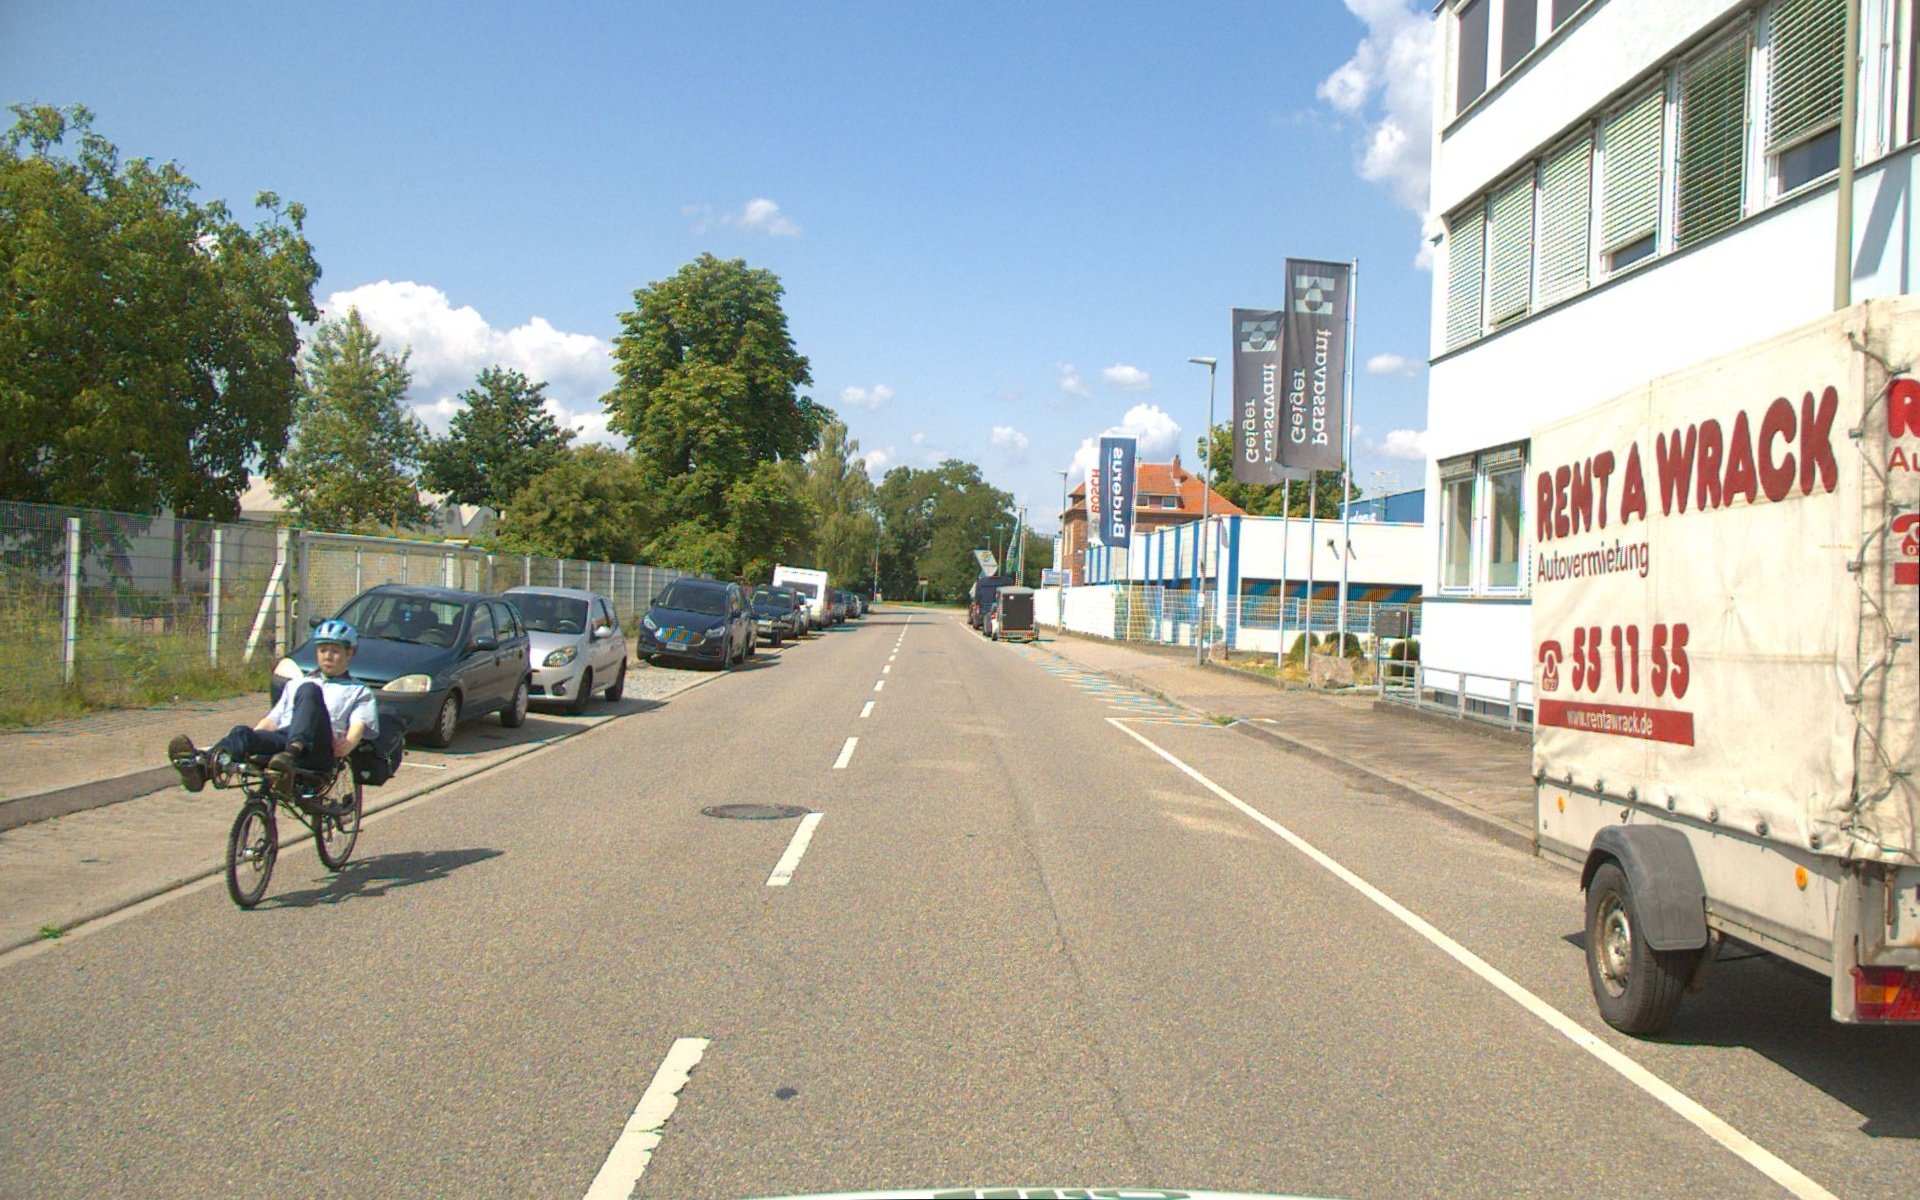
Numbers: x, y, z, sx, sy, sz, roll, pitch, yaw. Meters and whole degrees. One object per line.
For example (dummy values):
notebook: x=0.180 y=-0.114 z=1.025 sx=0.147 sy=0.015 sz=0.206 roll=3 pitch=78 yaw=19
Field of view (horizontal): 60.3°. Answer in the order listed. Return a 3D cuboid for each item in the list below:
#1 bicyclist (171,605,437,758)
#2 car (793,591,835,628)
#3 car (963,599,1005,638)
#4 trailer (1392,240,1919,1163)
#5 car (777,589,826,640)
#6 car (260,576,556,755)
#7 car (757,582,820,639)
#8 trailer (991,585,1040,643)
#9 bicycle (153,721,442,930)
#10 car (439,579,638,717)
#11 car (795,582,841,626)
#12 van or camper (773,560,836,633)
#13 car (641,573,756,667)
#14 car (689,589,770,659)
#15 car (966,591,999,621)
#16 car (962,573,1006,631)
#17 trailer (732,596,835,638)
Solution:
bicyclist: x=-3.298 y=0.374 z=8.504 sx=0.554 sy=0.642 sz=1.858 roll=3 pitch=1 yaw=2
car: x=-6.999 y=0.456 z=79.553 sx=1.592 sy=1.558 sz=4.267 roll=5 pitch=0 yaw=-1
car: x=0.979 y=0.736 z=68.942 sx=1.540 sy=1.534 sz=4.131 roll=2 pitch=0 yaw=-2
trailer: x=3.437 y=0.302 z=7.194 sx=1.830 sy=2.598 sz=5.072 roll=2 pitch=0 yaw=1
car: x=-6.112 y=0.516 z=64.023 sx=1.651 sy=1.721 sz=4.441 roll=6 pitch=0 yaw=-5
car: x=-5.405 y=0.573 z=16.694 sx=1.537 sy=1.423 sz=3.799 roll=7 pitch=0 yaw=0
car: x=-5.919 y=0.337 z=57.621 sx=1.790 sy=1.824 sz=4.734 roll=2 pitch=0 yaw=-2
trailer: x=2.089 y=0.518 z=62.699 sx=1.569 sy=2.073 sz=2.740 roll=3 pitch=0 yaw=-2
bicycle: x=-3.323 y=1.096 z=8.530 sx=0.575 sy=0.754 sz=2.125 roll=2 pitch=0 yaw=1
car: x=-5.317 y=0.558 z=21.311 sx=1.583 sy=1.509 sz=3.709 roll=4 pitch=0 yaw=-1
car: x=-7.319 y=0.203 z=85.843 sx=1.861 sy=1.987 sz=4.956 roll=7 pitch=0 yaw=-2
van or camper: x=-6.814 y=-0.144 z=73.189 sx=2.218 sy=2.851 sz=6.829 roll=6 pitch=0 yaw=-3
car: x=-5.418 y=0.390 z=34.764 sx=1.765 sy=1.780 sz=4.711 roll=2 pitch=0 yaw=-2
car: x=-5.541 y=0.548 z=40.091 sx=1.546 sy=1.539 sz=4.199 roll=3 pitch=0 yaw=-3
car: x=1.296 y=0.361 z=98.631 sx=1.788 sy=1.693 sz=4.555 roll=1 pitch=0 yaw=-1
car: x=1.229 y=0.045 z=86.470 sx=1.899 sy=2.796 sz=6.153 roll=-3 pitch=1 yaw=-2
trailer: x=-5.148 y=0.488 z=49.280 sx=2.226 sy=0.898 sz=7.131 roll=7 pitch=0 yaw=0
